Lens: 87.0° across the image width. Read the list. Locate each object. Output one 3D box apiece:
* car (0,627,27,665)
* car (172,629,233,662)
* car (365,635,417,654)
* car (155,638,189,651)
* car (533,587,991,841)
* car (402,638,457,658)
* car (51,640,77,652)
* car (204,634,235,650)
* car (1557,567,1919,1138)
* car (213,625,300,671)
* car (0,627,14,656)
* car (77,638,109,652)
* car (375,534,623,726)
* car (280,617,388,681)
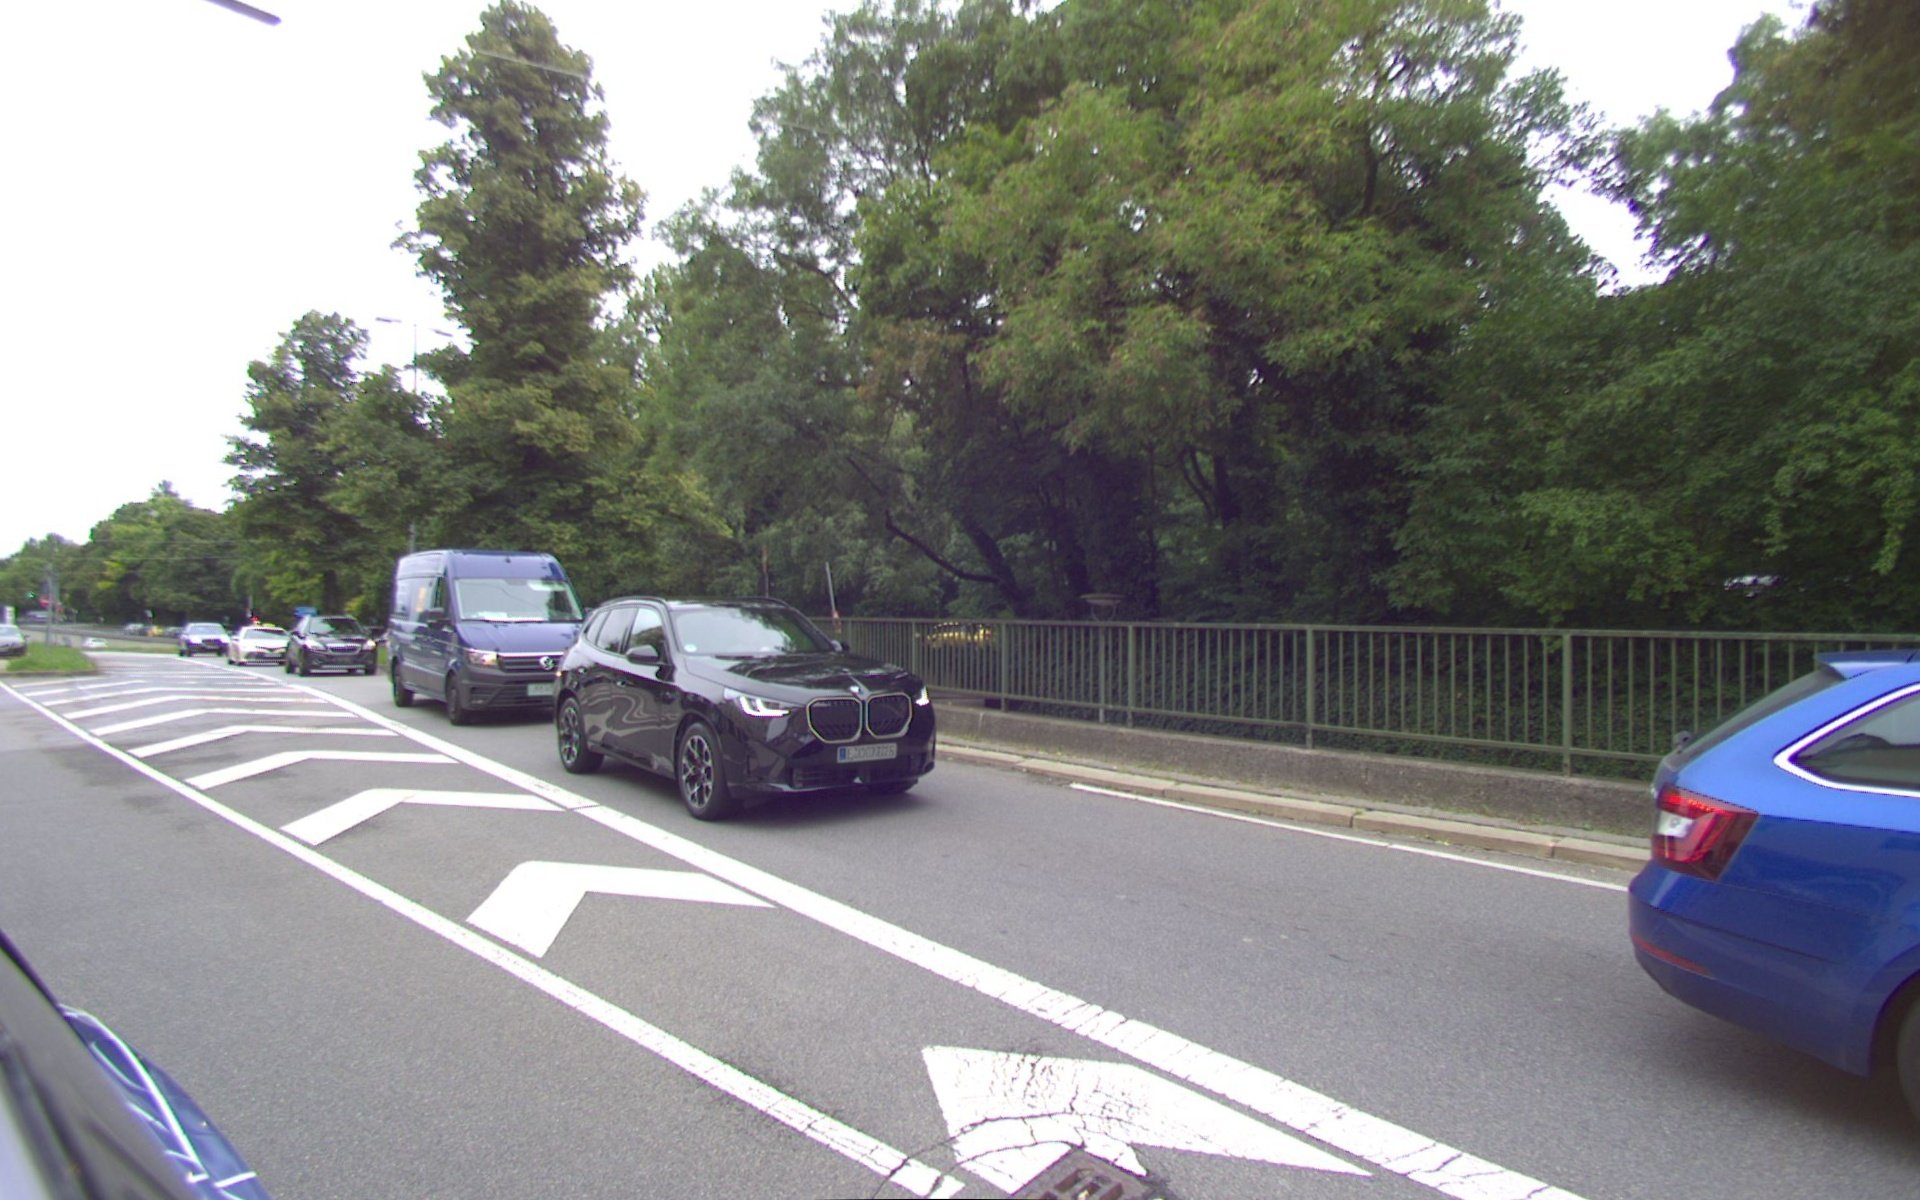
[{"bbox_3d":[-42.390,2.005,44.559,1.876,1.577,4.775,2,-3,-43],"label":"car"},{"bbox_3d":[-38.087,2.270,50.818,1.963,1.577,4.277,2,-3,-43],"label":"car"},{"bbox_3d":[-45.651,3.576,81.171,4.518,1.457,1.975,-2,-3,38],"label":"car"},{"bbox_3d":[-84.808,4.780,108.943,4.025,1.457,1.874,-2,-3,36],"label":"car"},{"bbox_3d":[-2.030,0.784,8.881,1.889,1.598,4.838,1,-2,-39],"label":"car"},{"bbox_3d":[-40.427,3.662,77.030,4.518,1.457,1.975,-2,-3,38],"label":"car"},{"bbox_3d":[-106.731,5.447,120.534,4.033,1.457,1.870,-2,-3,43],"label":"car"},{"bbox_3d":[-80.208,4.544,109.673,3.998,1.759,1.861,-1,-2,41],"label":"car"},{"bbox_3d":[4.202,0.629,2.077,1.962,1.465,4.742,2,-2,-40],"label":"car"},{"bbox_3d":[-26.078,1.735,37.455,1.964,1.577,4.658,2,-3,-44],"label":"car"},{"bbox_3d":[-53.713,2.264,55.894,4.285,1.577,1.964,-2,-3,45],"label":"car"},{"bbox_3d":[-91.916,4.808,107.272,4.231,1.457,1.809,-2,-3,39],"label":"car"},{"bbox_3d":[-7.505,0.426,16.062,2.156,2.482,5.862,1,-1,-39],"label":"car"},{"bbox_3d":[-17.462,1.329,28.136,1.962,1.640,4.280,2,-2,-40],"label":"car"}]
